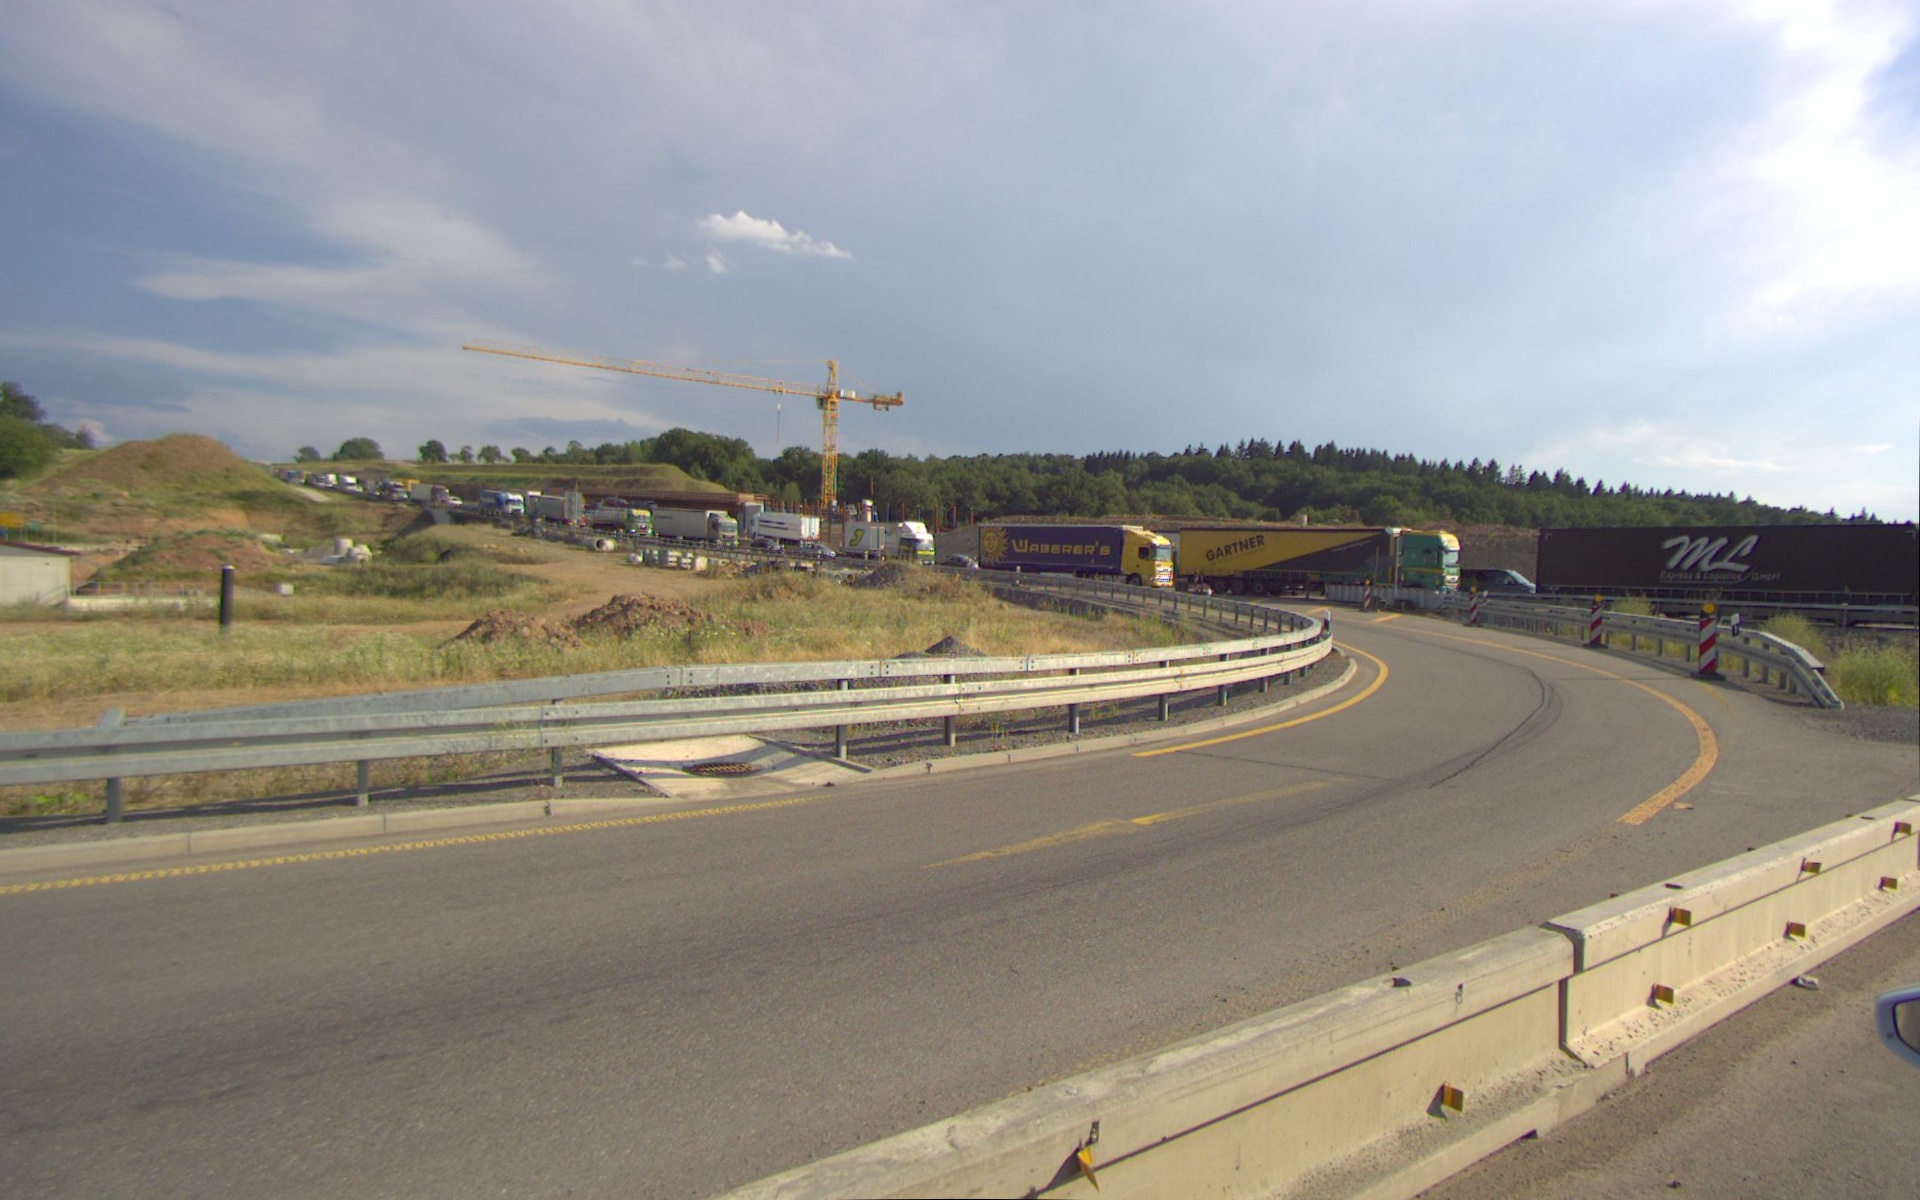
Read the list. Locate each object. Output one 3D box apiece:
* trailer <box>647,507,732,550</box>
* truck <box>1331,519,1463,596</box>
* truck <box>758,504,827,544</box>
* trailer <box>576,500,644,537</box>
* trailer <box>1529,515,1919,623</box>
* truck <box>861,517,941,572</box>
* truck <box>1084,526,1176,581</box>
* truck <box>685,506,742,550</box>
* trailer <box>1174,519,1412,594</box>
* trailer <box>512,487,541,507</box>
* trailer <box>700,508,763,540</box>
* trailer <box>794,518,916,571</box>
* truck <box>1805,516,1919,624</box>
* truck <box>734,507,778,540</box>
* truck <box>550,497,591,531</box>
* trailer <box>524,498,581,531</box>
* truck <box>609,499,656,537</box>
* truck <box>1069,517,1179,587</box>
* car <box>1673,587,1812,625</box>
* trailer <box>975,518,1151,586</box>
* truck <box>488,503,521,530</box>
[{"bbox_3d":[-30.800,-8.038,113.648,3.091,4.372,14.072,1,2,-42],"label":"trailer"},{"bbox_3d":[23.595,-2.325,54.458,2.470,3.954,5.935,-1,3,-43],"label":"truck"},{"bbox_3d":[-21.224,-9.476,126.435,3.536,4.471,13.050,2,2,-33],"label":"truck"},{"bbox_3d":[-45.879,-10.540,131.310,3.091,4.372,14.072,1,2,-42],"label":"trailer"},{"bbox_3d":[32.908,-1.509,44.183,2.472,4.117,13.449,-1,3,-44],"label":"trailer"},{"bbox_3d":[-5.122,-4.755,85.770,3.091,4.372,6.810,1,2,-42],"label":"truck"},{"bbox_3d":[13.132,-3.616,77.880,2.837,4.051,6.539,-1,3,-43],"label":"truck"},{"bbox_3d":[-26.832,-7.770,109.208,3.091,4.372,6.810,1,2,-42],"label":"truck"},{"bbox_3d":[19.147,-2.647,59.332,2.470,4.012,13.798,-1,3,-42],"label":"trailer"},{"bbox_3d":[-88.821,-20.967,205.662,1.958,3.561,11.035,1,2,-42],"label":"trailer"},{"bbox_3d":[-34.075,-11.142,149.145,3.088,4.372,14.084,1,2,-40],"label":"trailer"},{"bbox_3d":[-9.733,-5.031,90.806,3.091,4.372,14.072,1,2,-42],"label":"trailer"},{"bbox_3d":[37.420,-1.173,39.618,2.472,4.115,5.931,-1,3,-44],"label":"truck"},{"bbox_3d":[-29.115,-10.832,143.122,3.088,4.372,6.815,1,2,-40],"label":"truck"},{"bbox_3d":[-55.216,-12.147,142.471,3.091,4.372,6.810,1,2,-42],"label":"truck"},{"bbox_3d":[-60.237,-12.507,148.052,3.091,4.372,14.072,1,2,-42],"label":"trailer"},{"bbox_3d":[-41.085,-10.199,125.931,3.091,4.372,6.810,1,2,-42],"label":"truck"},{"bbox_3d":[11.038,-3.254,68.139,3.091,4.372,6.810,1,2,-42],"label":"truck"},{"bbox_3d":[37.248,0.247,47.911,2.020,1.521,4.917,-3,4,-42],"label":"car"},{"bbox_3d":[7.058,-3.497,72.560,3.091,4.372,14.072,1,2,-42],"label":"trailer"},{"bbox_3d":[-73.568,-13.416,162.033,2.504,4.055,8.449,1,2,-41],"label":"truck"}]
